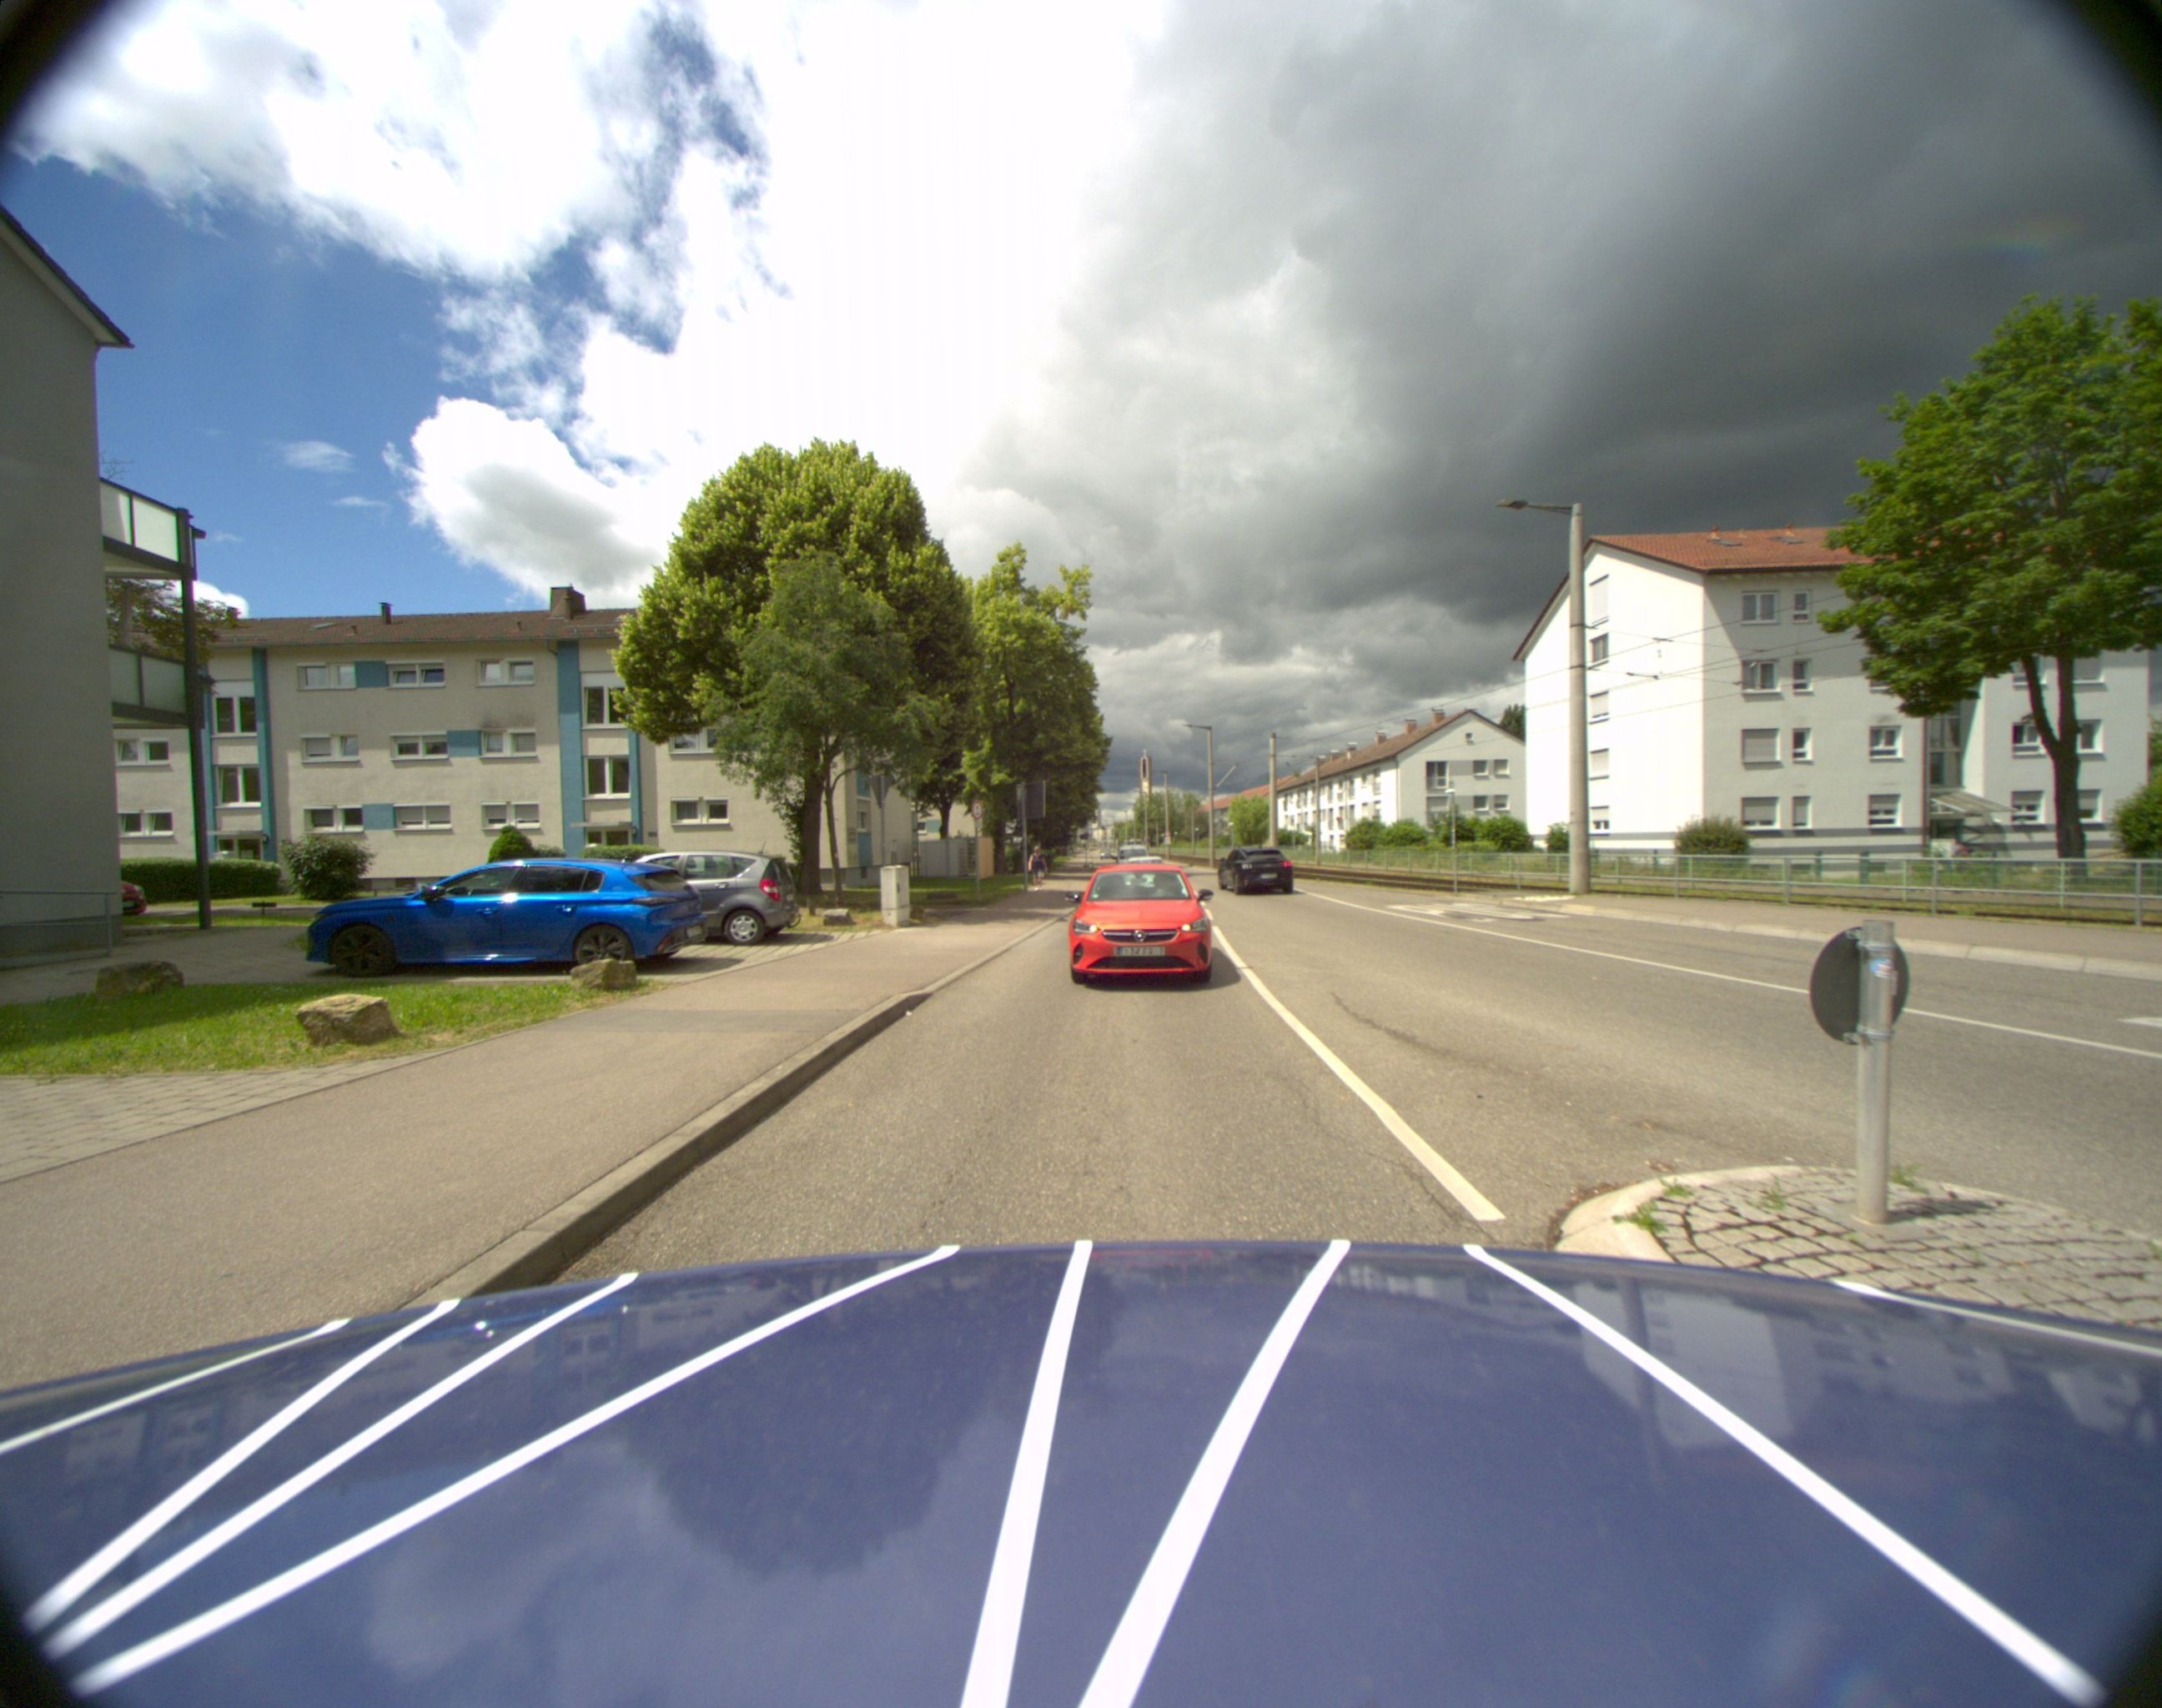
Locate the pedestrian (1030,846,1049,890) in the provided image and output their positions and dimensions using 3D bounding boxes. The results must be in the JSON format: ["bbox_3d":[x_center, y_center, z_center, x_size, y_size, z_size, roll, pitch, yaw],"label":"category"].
[{"bbox_3d":[-1.610,0.514,29.293,0.684,1.651,0.831,0,2,-4],"label":"pedestrian"}]

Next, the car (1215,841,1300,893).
[{"bbox_3d":[6.010,0.368,26.406,1.998,1.517,4.523,-1,2,1],"label":"car"}]

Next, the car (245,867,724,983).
[{"bbox_3d":[-7.380,0.880,9.919,4.497,1.236,1.998,2,1,-8],"label":"car"}]

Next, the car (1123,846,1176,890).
[{"bbox_3d":[2.456,0.434,27.054,1.763,1.390,4.001,0,1,6],"label":"car"}]

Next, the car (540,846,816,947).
[{"bbox_3d":[-6.818,0.688,13.252,3.740,1.548,2.030,1,1,-6],"label":"car"}]

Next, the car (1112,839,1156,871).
[{"bbox_3d":[2.751,0.010,40.177,1.999,1.598,3.999,0,1,-1],"label":"car"}]

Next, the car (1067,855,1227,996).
[{"bbox_3d":[0.777,0.811,10.503,1.766,1.548,4.000,-1,0,1],"label":"car"}]

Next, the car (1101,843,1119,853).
[{"bbox_3d":[4.021,-0.902,104.373,1.917,1.309,4.002,0,1,9],"label":"car"}]
